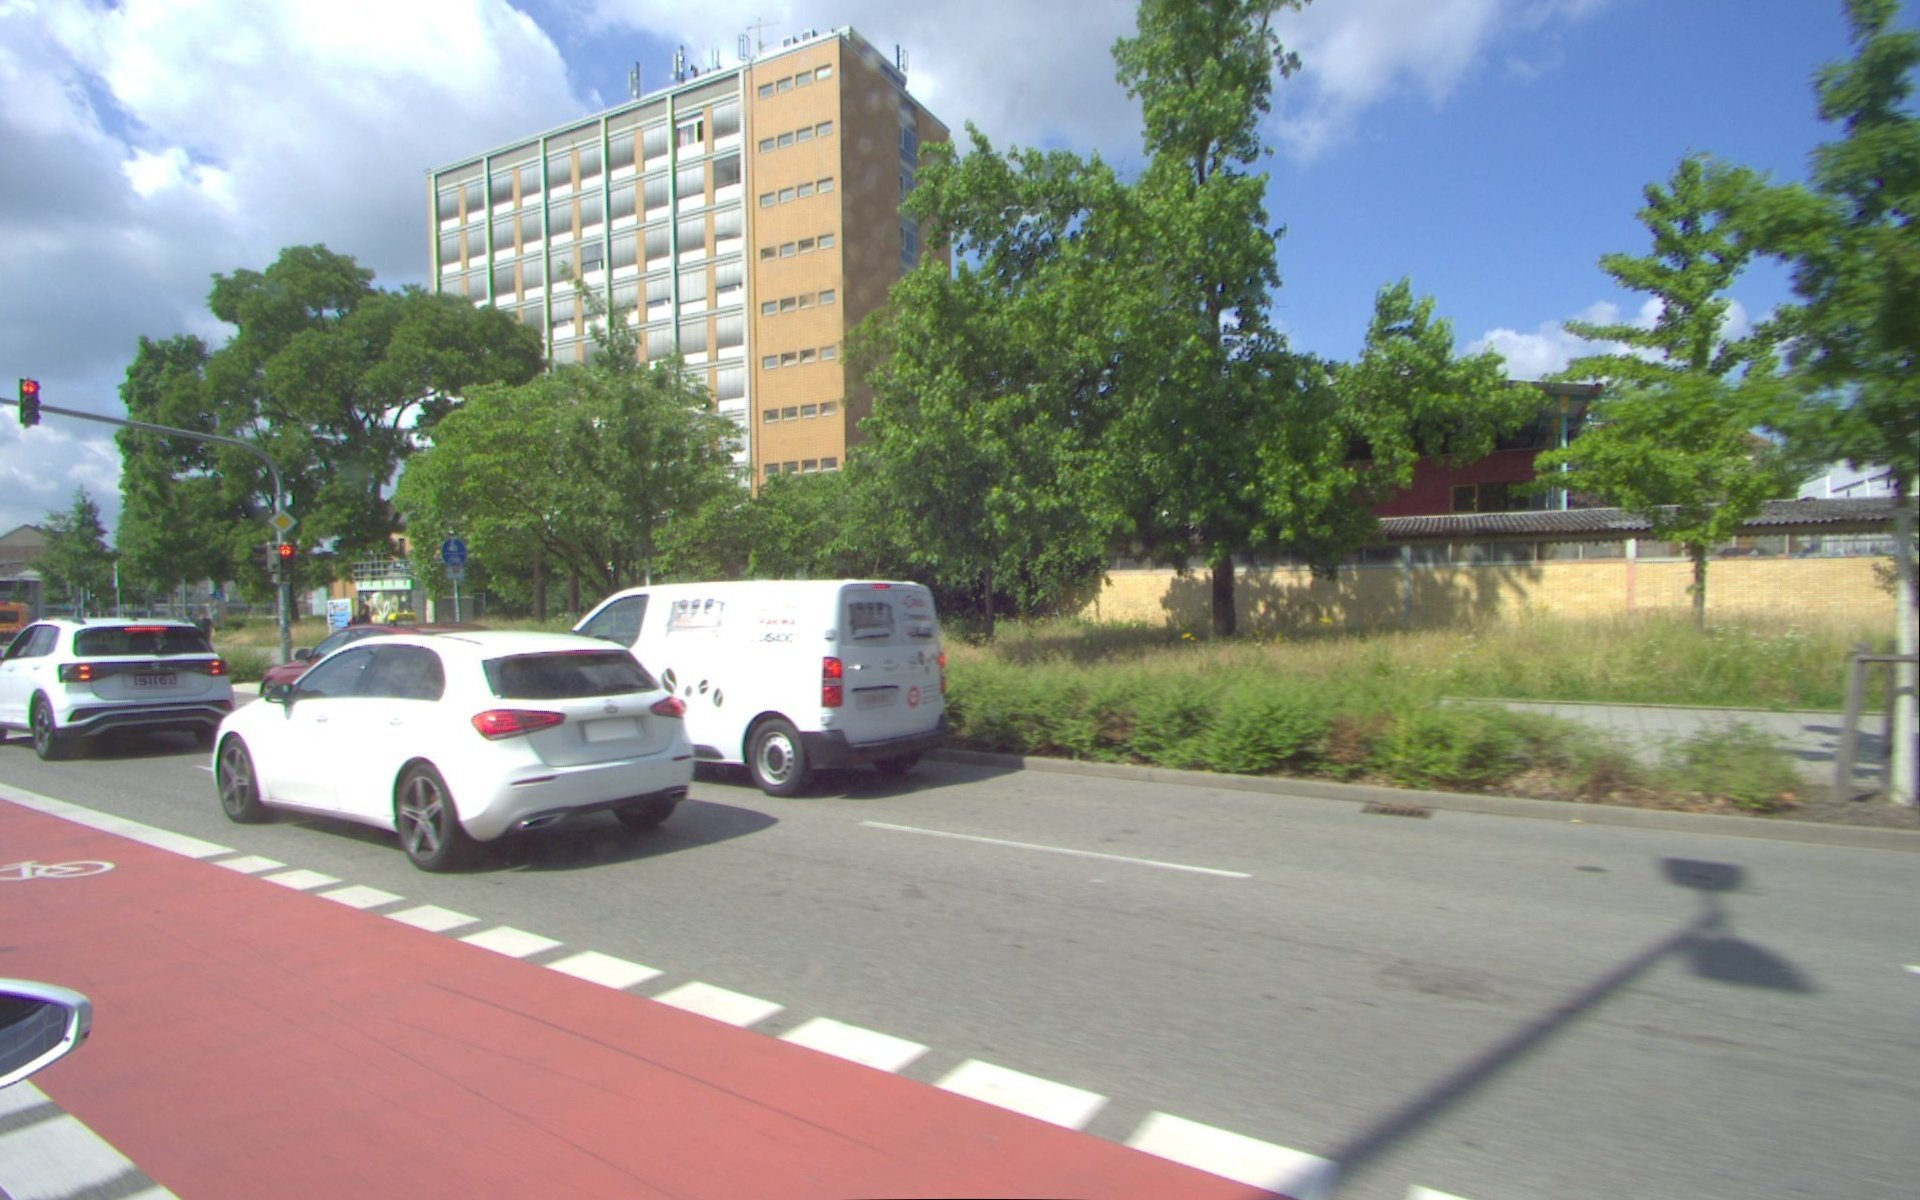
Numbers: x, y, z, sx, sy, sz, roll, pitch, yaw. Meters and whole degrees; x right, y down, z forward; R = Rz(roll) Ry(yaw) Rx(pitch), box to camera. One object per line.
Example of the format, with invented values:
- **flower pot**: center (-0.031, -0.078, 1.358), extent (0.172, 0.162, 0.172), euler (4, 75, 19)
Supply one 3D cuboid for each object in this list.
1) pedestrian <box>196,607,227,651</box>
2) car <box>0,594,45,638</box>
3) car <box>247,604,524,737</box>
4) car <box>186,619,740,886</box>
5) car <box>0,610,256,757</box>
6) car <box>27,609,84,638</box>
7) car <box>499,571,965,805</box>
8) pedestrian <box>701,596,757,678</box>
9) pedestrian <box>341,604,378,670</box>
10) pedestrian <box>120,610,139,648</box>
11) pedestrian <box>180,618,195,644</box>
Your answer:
- **pedestrian**: center (-26.141, 0.998, 34.967), extent (0.545, 1.528, 0.767), euler (0, 0, 38)
- **car**: center (-63.037, 1.038, 66.803), extent (2.108, 2.818, 4.610), euler (-1, 0, -33)
- **car**: center (-8.346, 0.900, 14.429), extent (4.400, 1.663, 1.677), euler (0, 0, 33)
- **car**: center (-3.887, 0.891, 7.600), extent (4.324, 1.443, 1.899), euler (0, 0, 34)
- **car**: center (-10.621, 0.924, 12.432), extent (3.955, 1.559, 1.787), euler (0, -1, 34)
- **car**: center (-58.796, 1.504, 65.180), extent (1.972, 1.819, 3.978), euler (-1, 0, -31)
- **car**: center (-2.456, 0.729, 10.251), extent (4.758, 1.895, 1.937), euler (0, 0, 34)
- **pedestrian**: center (-4.787, 0.746, 20.772), extent (0.711, 1.660, 0.865), euler (0, 1, 35)
- **pedestrian**: center (-16.307, 0.986, 27.202), extent (0.737, 1.758, 0.673), euler (-1, 1, -41)
- **pedestrian**: center (-39.002, 1.359, 47.048), extent (0.654, 1.756, 0.573), euler (-1, 1, -38)
- **pedestrian**: center (-53.762, 2.164, 69.671), extent (0.780, 1.807, 0.662), euler (-1, 1, -34)
